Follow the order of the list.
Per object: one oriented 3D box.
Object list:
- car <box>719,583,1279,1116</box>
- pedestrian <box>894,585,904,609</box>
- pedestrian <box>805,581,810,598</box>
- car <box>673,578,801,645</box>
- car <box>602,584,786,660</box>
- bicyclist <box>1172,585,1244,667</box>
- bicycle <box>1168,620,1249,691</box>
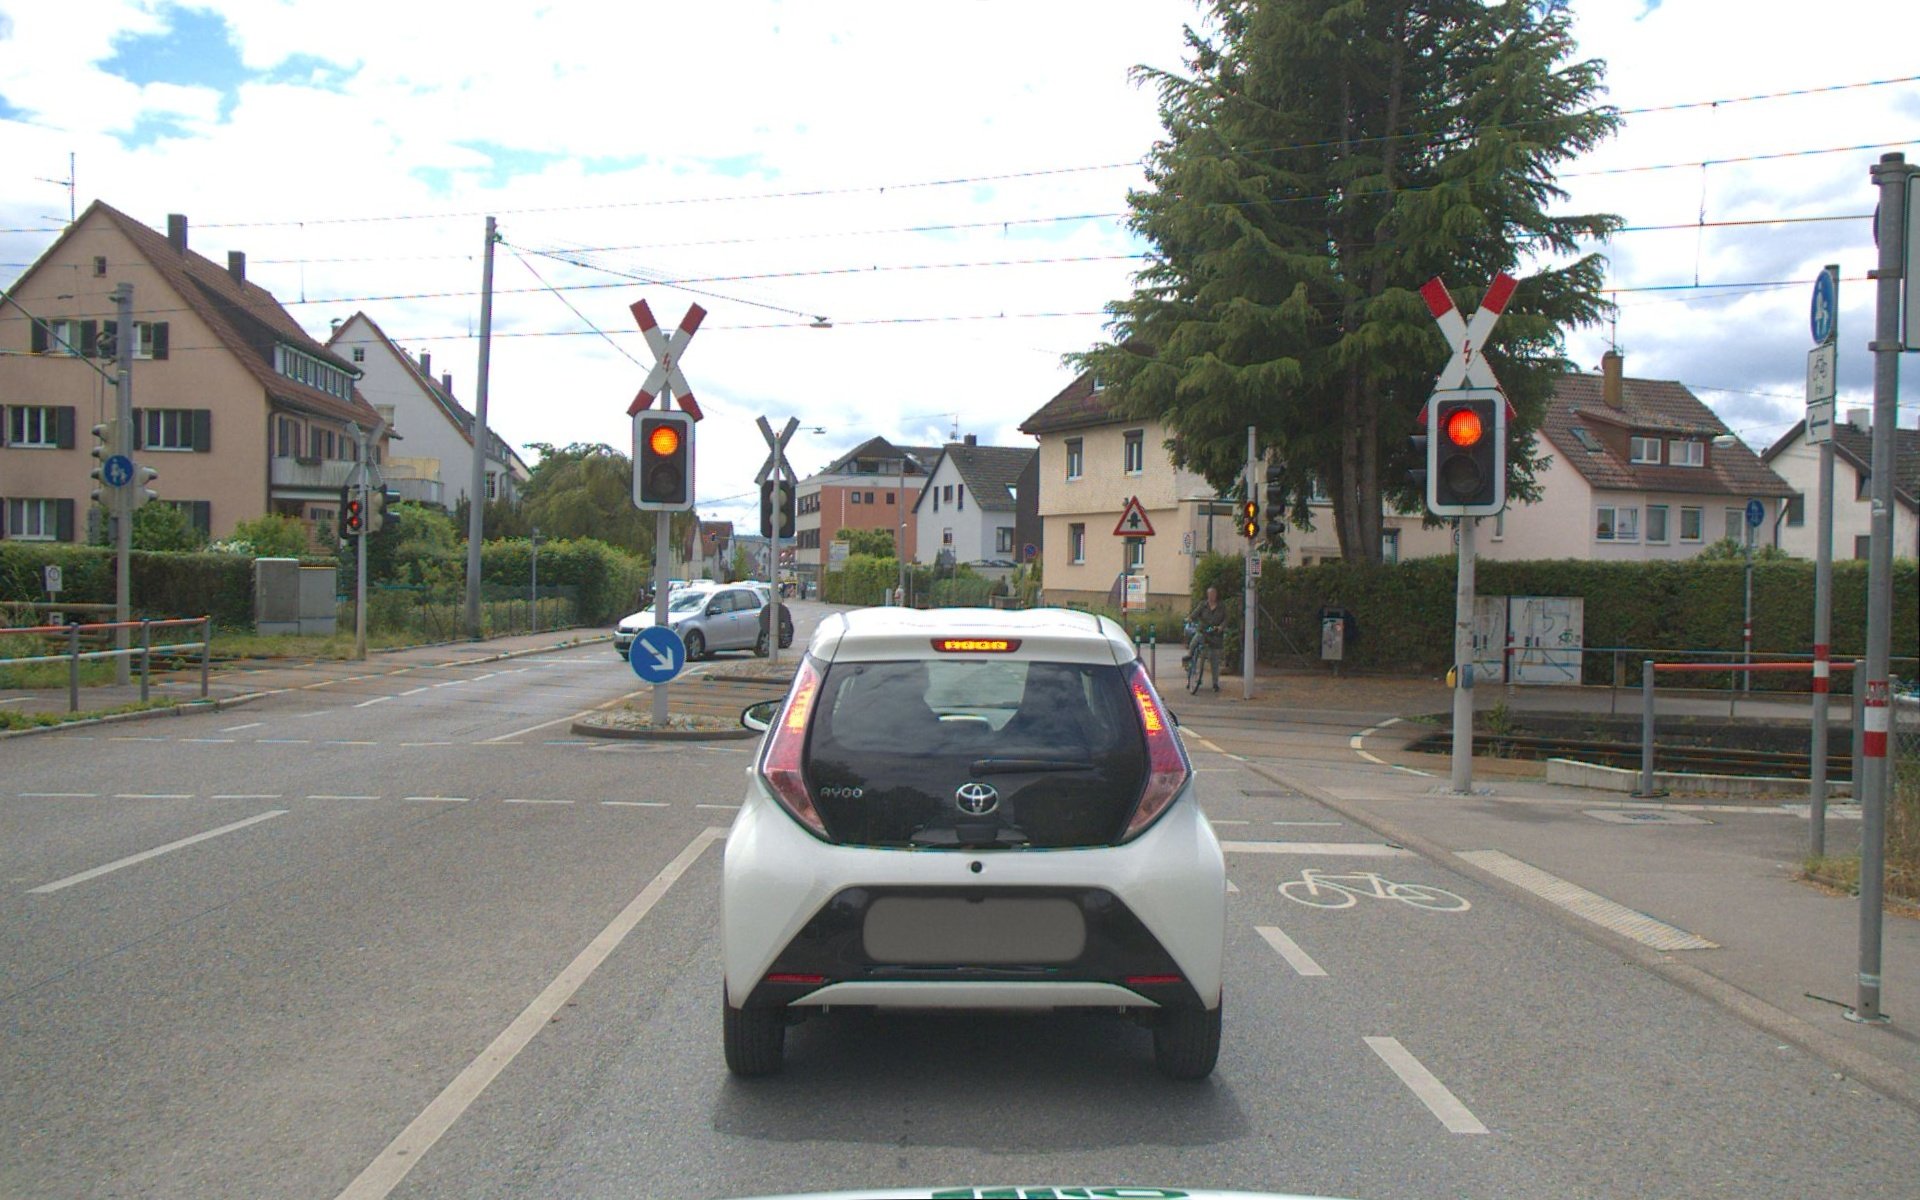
[{"bbox_3d":[0.087,0.723,6.731,1.588,1.512,3.999,1,0,-1],"label":"car"},{"bbox_3d":[-3.701,-0.182,100.205,0.406,1.463,0.436,2,1,36],"label":"pedestrian"},{"bbox_3d":[-13.185,-0.901,142.920,0.406,1.463,0.436,1,0,-11],"label":"pedestrian"},{"bbox_3d":[-5.442,0.291,40.503,1.551,1.536,2.772,1,0,41],"label":"car"},{"bbox_3d":[-5.443,0.457,34.326,1.656,1.484,4.063,0,-1,28],"label":"car"},{"bbox_3d":[3.951,0.406,26.298,0.912,1.269,1.102,0,0,21],"label":"bicyclist"},{"bbox_3d":[3.983,0.862,26.389,0.912,1.058,1.915,0,0,20],"label":"bicycle"}]
